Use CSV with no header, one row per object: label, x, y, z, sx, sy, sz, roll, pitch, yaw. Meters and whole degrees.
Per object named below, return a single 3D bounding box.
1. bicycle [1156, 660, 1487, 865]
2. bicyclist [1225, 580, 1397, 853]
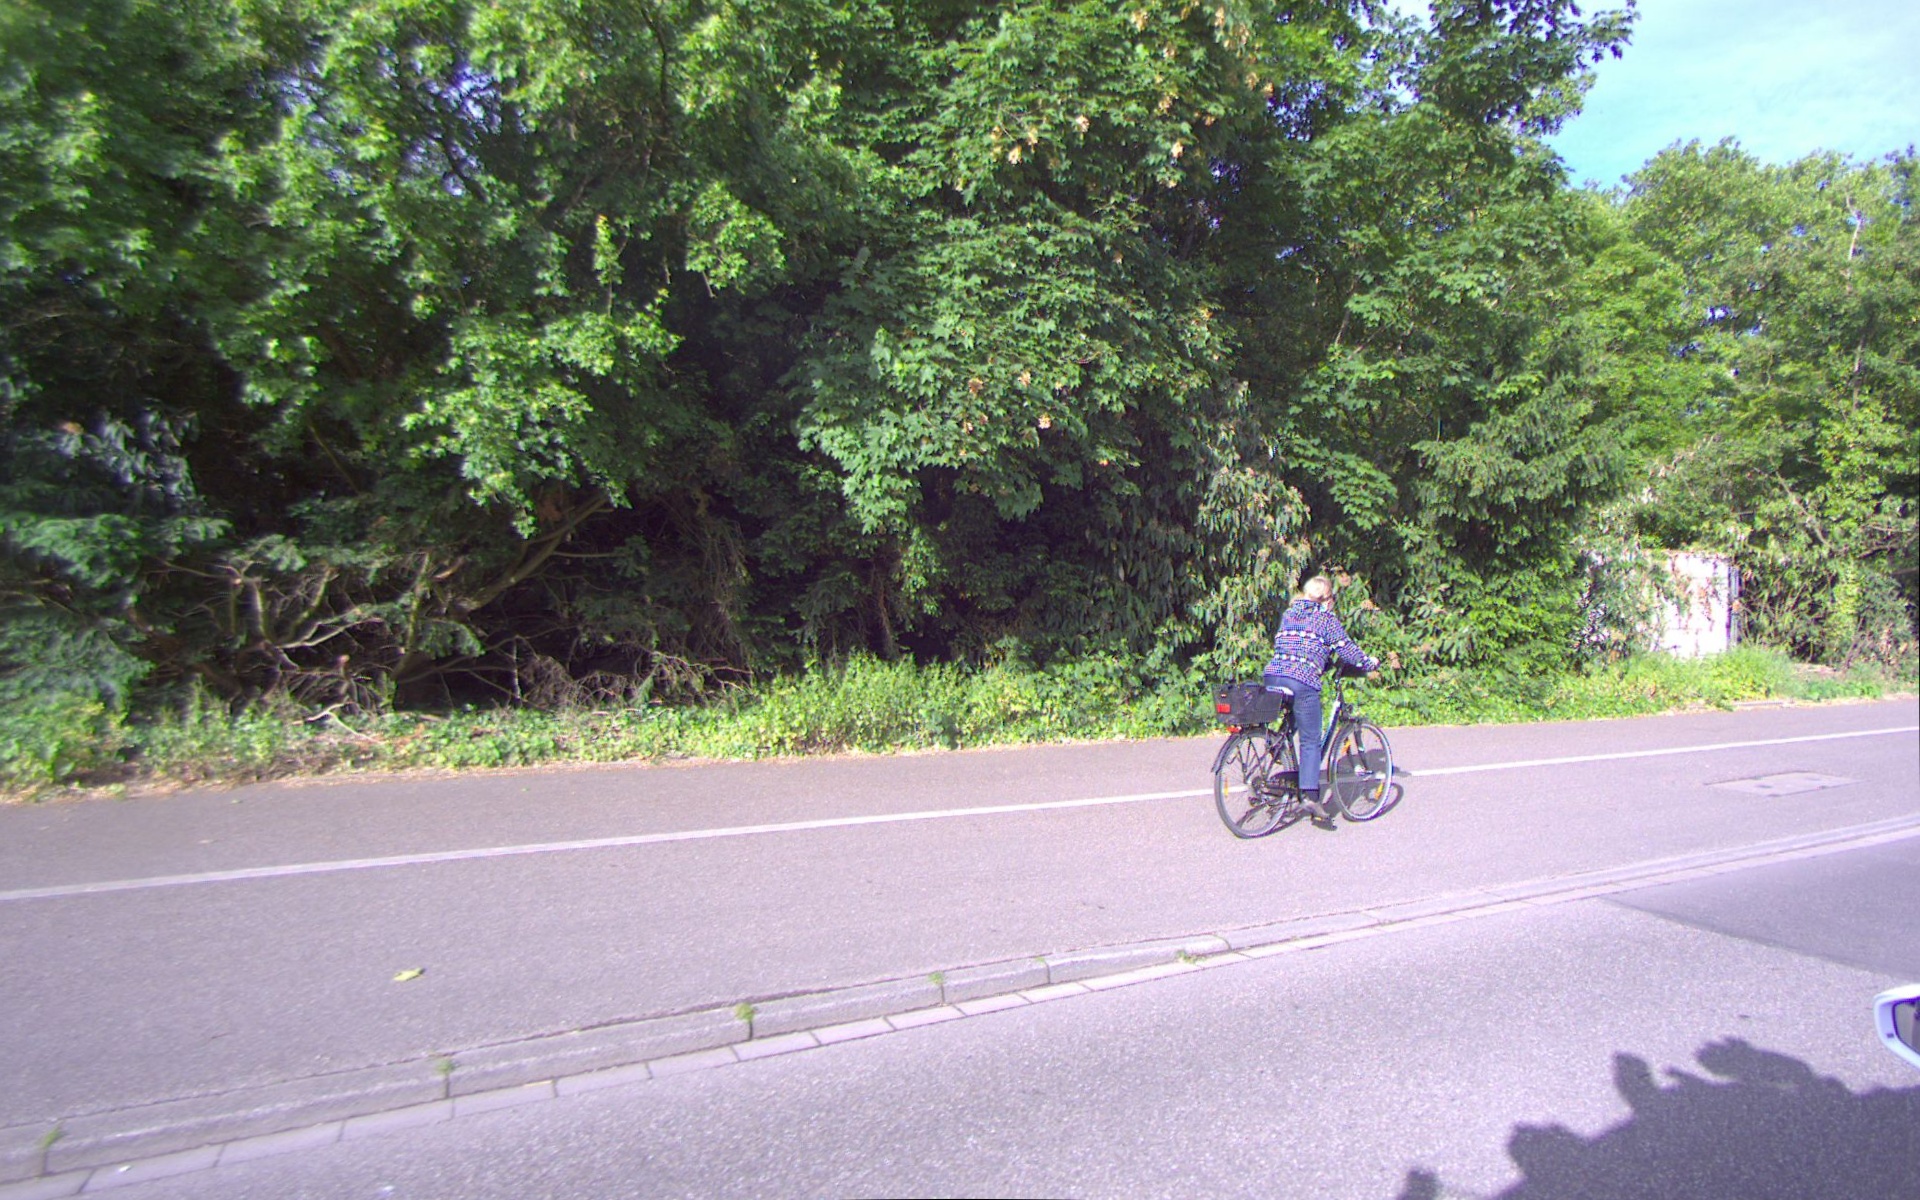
bicycle,2.478,1.019,6.796,2.317,1.112,0.660,0,3,-27
bicyclist,2.338,0.725,6.713,0.872,1.699,0.606,0,2,-26
